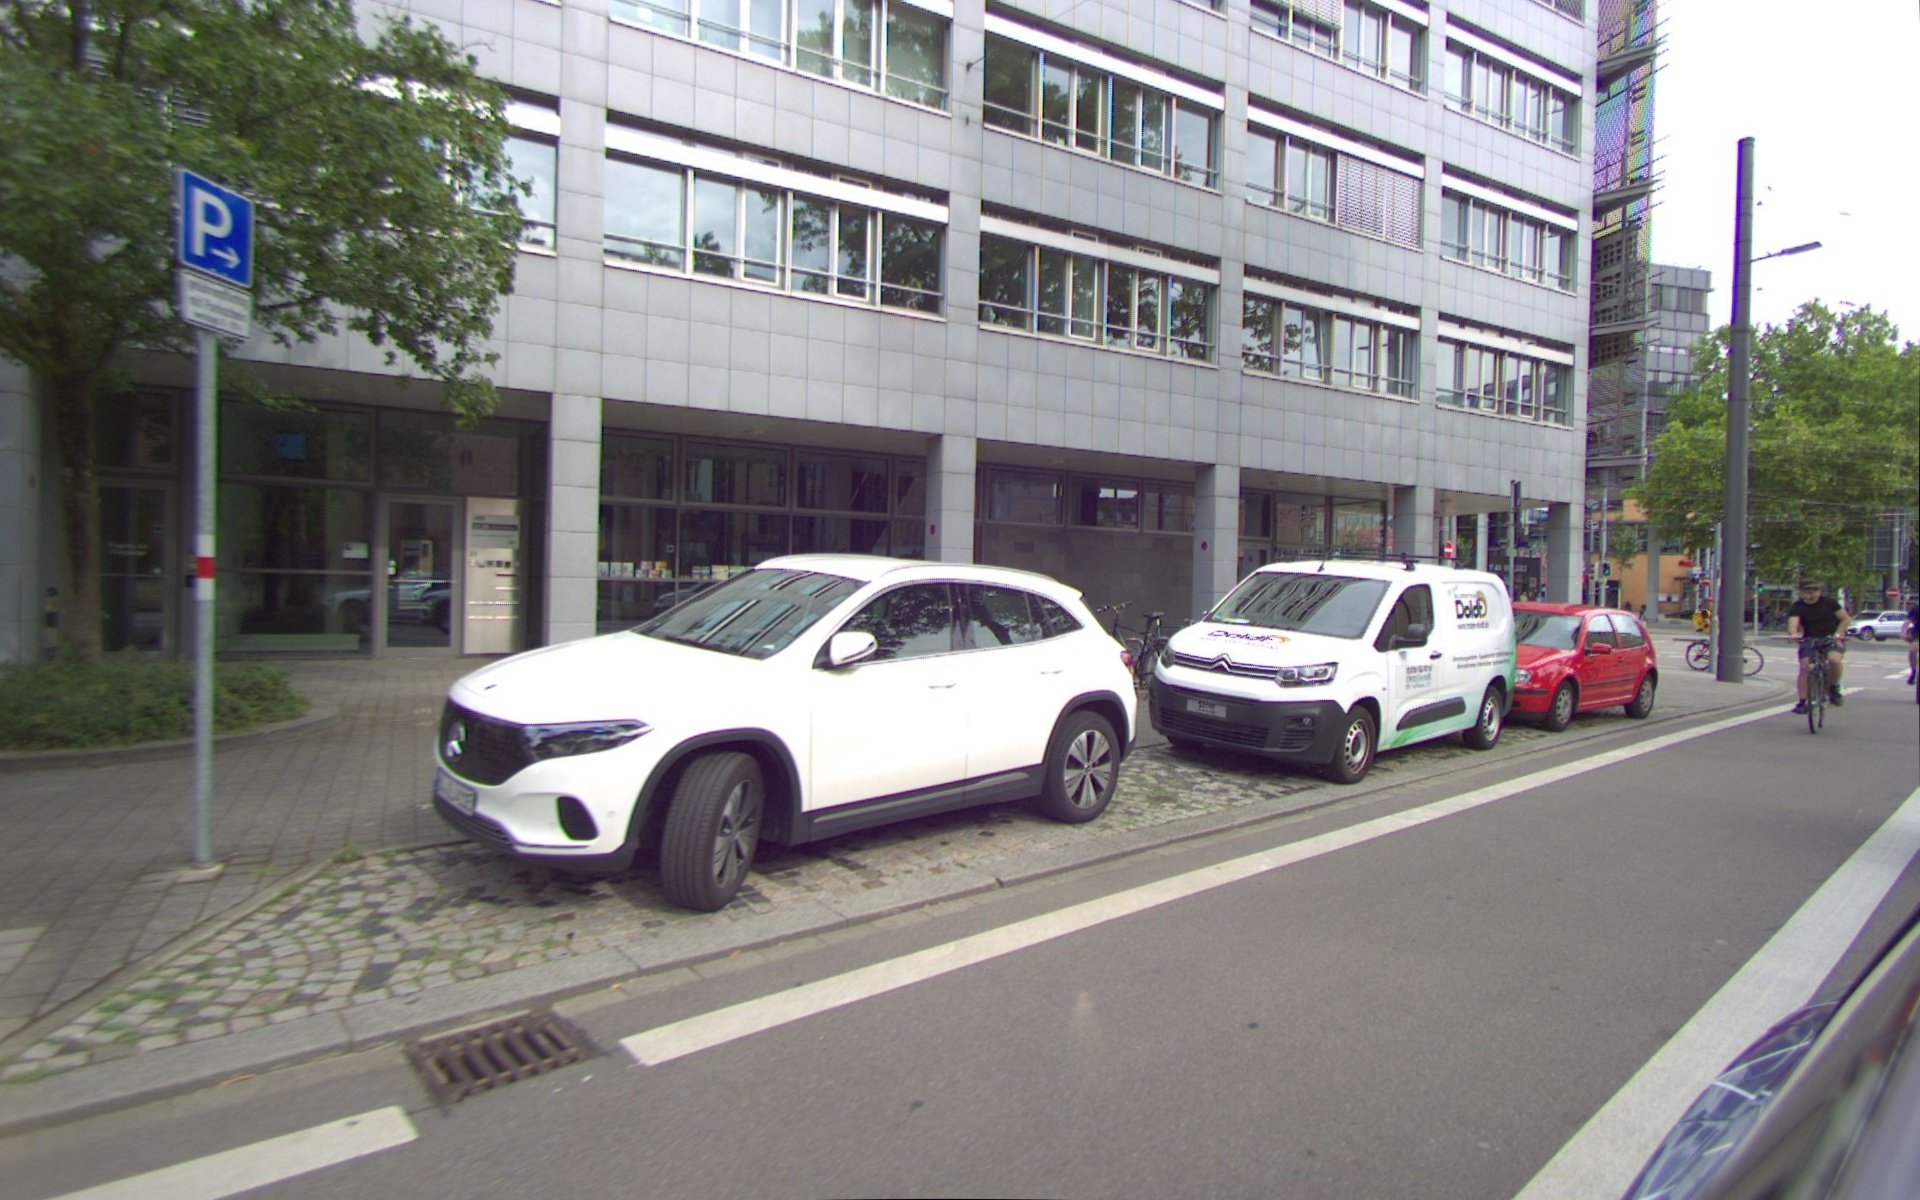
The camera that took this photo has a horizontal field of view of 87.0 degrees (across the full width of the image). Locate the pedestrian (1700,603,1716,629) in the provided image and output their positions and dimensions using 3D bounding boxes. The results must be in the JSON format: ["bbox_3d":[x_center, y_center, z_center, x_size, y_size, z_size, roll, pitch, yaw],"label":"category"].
[{"bbox_3d":[48.312,1.039,65.363,0.729,1.672,0.588,0,1,-32],"label":"pedestrian"}]

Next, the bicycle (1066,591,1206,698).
[{"bbox_3d":[2.198,0.522,12.904,0.470,1.212,2.063,1,1,-32],"label":"bicycle"}]

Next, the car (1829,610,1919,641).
[{"bbox_3d":[50.577,1.380,55.312,4.546,1.682,1.966,0,-1,-4],"label":"car"}]

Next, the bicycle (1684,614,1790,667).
[{"bbox_3d":[18.825,0.963,24.582,0.711,1.153,1.909,1,1,-22],"label":"bicycle"}]

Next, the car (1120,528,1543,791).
[{"bbox_3d":[3.696,0.404,9.574,4.569,1.887,1.830,1,3,-43],"label":"car"}]

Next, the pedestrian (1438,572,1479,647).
[{"bbox_3d":[11.876,0.221,24.101,0.630,1.748,0.548,2,0,-30],"label":"pedestrian"}]

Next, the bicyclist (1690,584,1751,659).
[{"bbox_3d":[18.704,0.526,24.892,0.704,1.786,0.918,1,1,-23],"label":"bicyclist"}]

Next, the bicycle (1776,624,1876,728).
[{"bbox_3d":[10.704,0.893,12.483,2.054,1.153,0.595,1,1,-40],"label":"bicycle"}]

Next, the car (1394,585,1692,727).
[{"bbox_3d":[7.547,0.629,12.968,4.173,1.450,1.728,1,3,-37],"label":"car"}]

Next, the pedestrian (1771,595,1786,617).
[{"bbox_3d":[68.731,0.505,84.983,0.729,1.753,0.588,1,1,-6],"label":"pedestrian"}]

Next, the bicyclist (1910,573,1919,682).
[{"bbox_3d":[16.336,0.463,16.849,1.016,1.792,0.591,1,1,-40],"label":"bicyclist"}]

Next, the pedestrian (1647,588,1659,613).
[{"bbox_3d":[54.712,0.034,79.877,0.504,1.890,0.547,1,0,-13],"label":"pedestrian"}]

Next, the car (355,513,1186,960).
[{"bbox_3d":[-0.766,0.460,6.039,1.996,1.622,4.509,6,4,44],"label":"car"}]

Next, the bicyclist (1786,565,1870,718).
[{"bbox_3d":[10.672,0.487,12.438,1.016,1.790,0.591,1,1,-40],"label":"bicyclist"}]

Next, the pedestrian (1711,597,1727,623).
[{"bbox_3d":[51.736,0.673,68.976,0.729,1.753,0.588,1,0,-32],"label":"pedestrian"}]

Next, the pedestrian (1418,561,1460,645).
[{"bbox_3d":[12.024,0.069,25.400,0.662,2.039,0.604,4,-1,-34],"label":"pedestrian"}]

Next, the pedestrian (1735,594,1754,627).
[{"bbox_3d":[44.059,0.592,56.852,0.657,1.814,0.678,0,1,-38],"label":"pedestrian"}]

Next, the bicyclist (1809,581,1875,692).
[{"bbox_3d":[13.964,0.559,16.016,1.016,1.674,0.591,1,1,-40],"label":"bicyclist"}]

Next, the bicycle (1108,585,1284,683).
[{"bbox_3d":[3.379,0.447,14.796,0.643,1.274,2.638,1,1,-40],"label":"bicycle"}]

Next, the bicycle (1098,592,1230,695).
[{"bbox_3d":[2.621,0.524,13.216,0.470,1.212,1.916,1,1,-32],"label":"bicycle"}]

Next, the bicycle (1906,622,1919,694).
[{"bbox_3d":[16.317,0.954,16.855,1.825,1.153,0.595,1,1,-40],"label":"bicycle"}]

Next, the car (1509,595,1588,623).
[{"bbox_3d":[39.403,0.592,67.853,1.924,1.760,4.188,1,1,-24],"label":"car"}]

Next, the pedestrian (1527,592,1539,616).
[{"bbox_3d":[45.995,0.281,81.221,0.617,1.889,0.670,2,1,15],"label":"pedestrian"}]

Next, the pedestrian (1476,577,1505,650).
[{"bbox_3d":[12.923,0.330,24.658,0.551,1.748,0.490,2,0,29],"label":"pedestrian"}]

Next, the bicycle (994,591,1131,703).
[{"bbox_3d":[1.203,0.528,12.378,0.470,1.212,2.063,1,1,-32],"label":"bicycle"}]

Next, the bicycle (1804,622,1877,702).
[{"bbox_3d":[13.967,0.953,16.036,1.704,1.153,0.595,1,1,-40],"label":"bicycle"}]
